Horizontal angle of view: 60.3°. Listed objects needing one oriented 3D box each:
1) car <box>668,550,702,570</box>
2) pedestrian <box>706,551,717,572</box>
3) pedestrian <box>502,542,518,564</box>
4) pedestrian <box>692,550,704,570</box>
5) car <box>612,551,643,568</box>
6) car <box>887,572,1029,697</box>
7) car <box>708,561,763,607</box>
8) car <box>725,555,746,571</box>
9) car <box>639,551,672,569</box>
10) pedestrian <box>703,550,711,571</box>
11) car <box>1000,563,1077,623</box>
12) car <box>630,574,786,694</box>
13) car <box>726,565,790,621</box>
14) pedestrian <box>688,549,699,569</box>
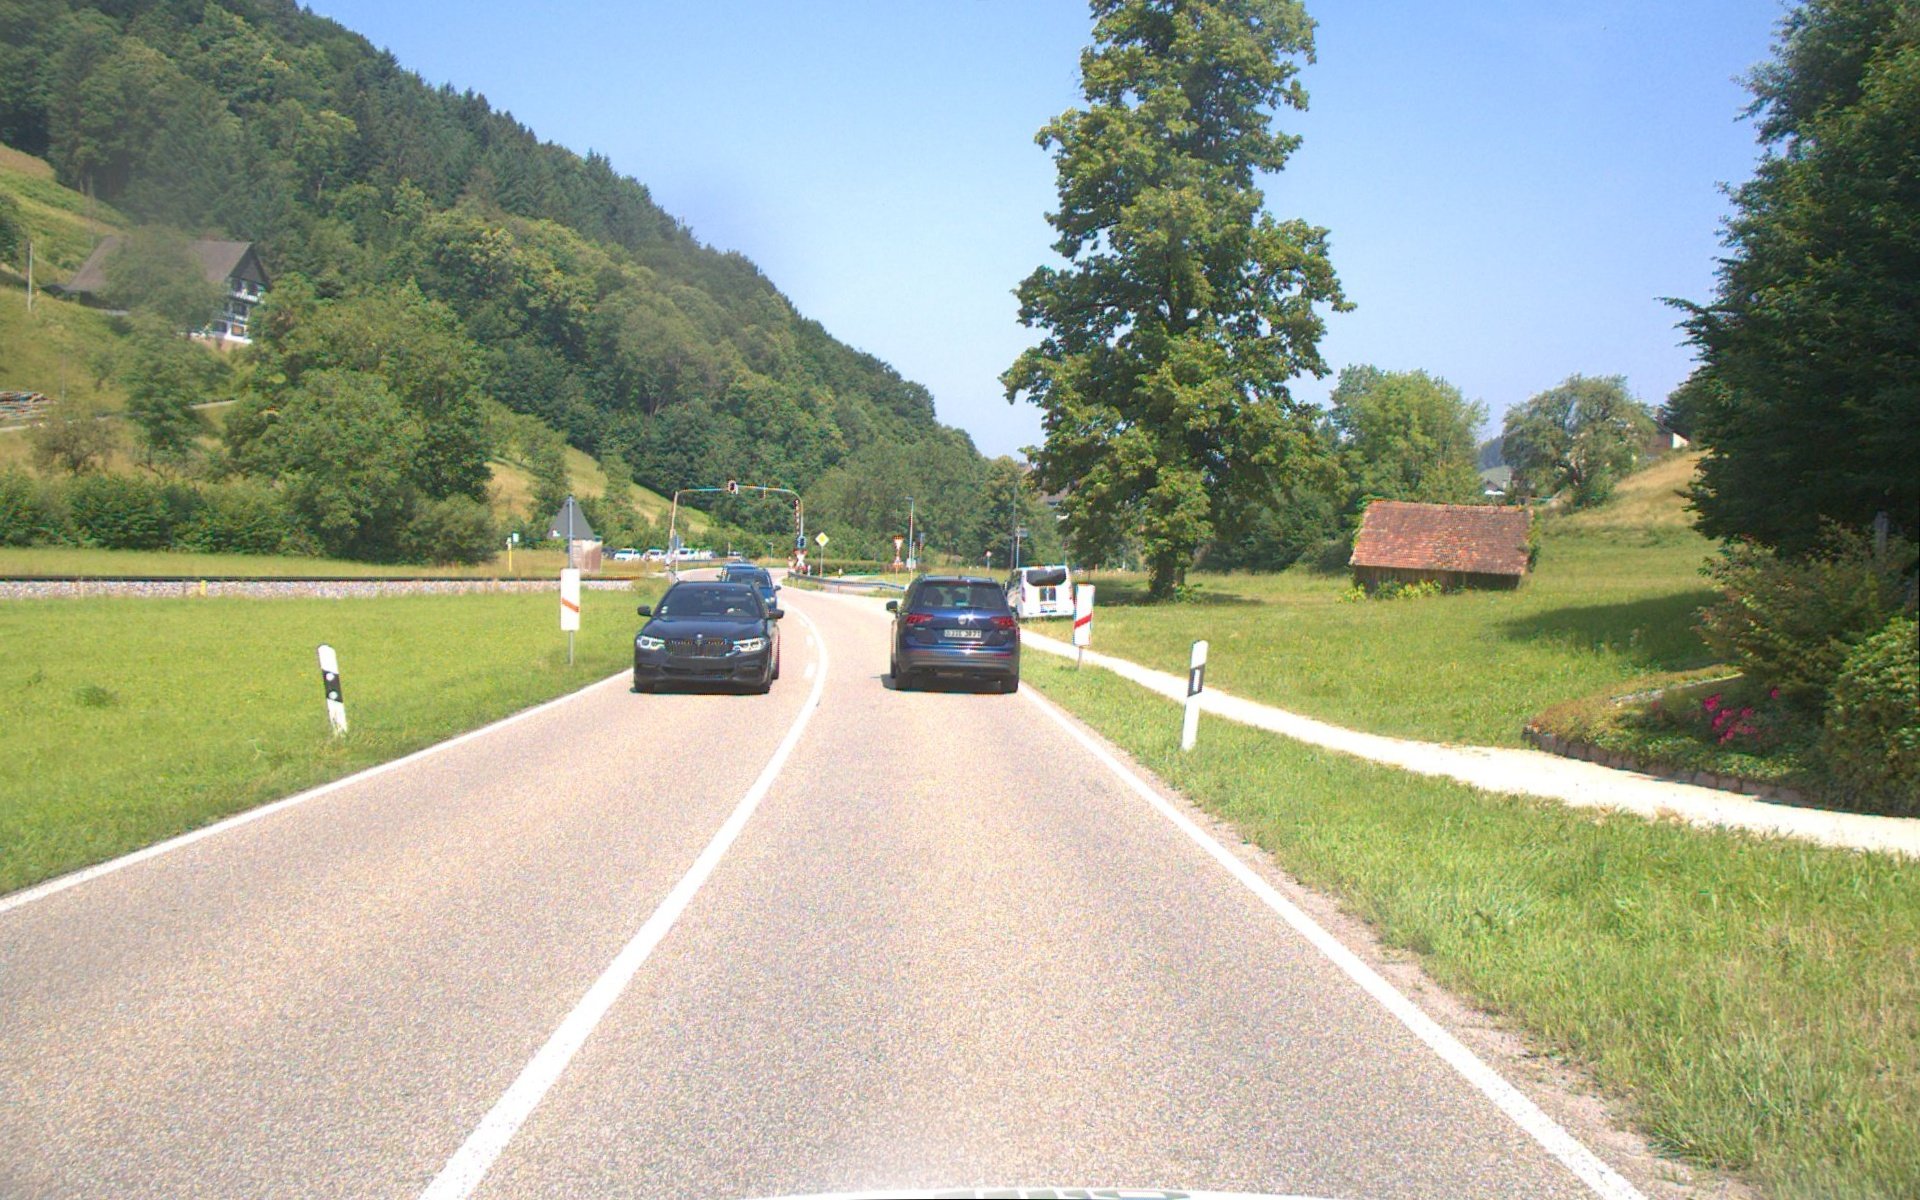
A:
[{"bbox_3d":[-26.690,-3.857,160.720,1.831,1.813,4.776,3,1,7],"label":"car"},{"bbox_3d":[-23.143,-3.603,153.972,0.636,1.891,0.767,2,1,38],"label":"pedestrian"},{"bbox_3d":[-42.278,-4.410,155.344,1.102,2.003,0.862,1,1,20],"label":"pedestrian"},{"bbox_3d":[-24.351,-3.686,153.866,0.754,1.827,0.792,2,1,31],"label":"pedestrian"},{"bbox_3d":[-32.144,-3.930,159.988,1.952,1.527,4.523,1,1,2],"label":"car"},{"bbox_3d":[-0.114,0.451,24.966,1.816,1.678,4.137,1,1,-4],"label":"car"},{"bbox_3d":[-9.073,-0.677,66.667,1.881,1.744,4.148,1,1,-12],"label":"car"},{"bbox_3d":[-21.557,-3.564,159.040,1.790,1.527,4.273,1,1,-5],"label":"car"},{"bbox_3d":[-29.503,-3.877,160.277,1.951,1.670,4.905,1,1,4],"label":"car"},{"bbox_3d":[-23.476,-3.676,153.406,0.647,1.988,0.532,1,1,-6],"label":"pedestrian"},{"bbox_3d":[2.721,-0.290,58.439,1.961,1.880,4.863,-3,2,-6],"label":"car"},{"bbox_3d":[-3.506,0.410,23.741,1.879,1.496,4.506,1,1,-5],"label":"car"},{"bbox_3d":[-6.427,-0.261,53.033,1.829,1.652,4.506,2,1,-5],"label":"car"},{"bbox_3d":[-24.576,-3.787,152.471,0.771,1.874,0.699,1,1,15],"label":"pedestrian"}]
